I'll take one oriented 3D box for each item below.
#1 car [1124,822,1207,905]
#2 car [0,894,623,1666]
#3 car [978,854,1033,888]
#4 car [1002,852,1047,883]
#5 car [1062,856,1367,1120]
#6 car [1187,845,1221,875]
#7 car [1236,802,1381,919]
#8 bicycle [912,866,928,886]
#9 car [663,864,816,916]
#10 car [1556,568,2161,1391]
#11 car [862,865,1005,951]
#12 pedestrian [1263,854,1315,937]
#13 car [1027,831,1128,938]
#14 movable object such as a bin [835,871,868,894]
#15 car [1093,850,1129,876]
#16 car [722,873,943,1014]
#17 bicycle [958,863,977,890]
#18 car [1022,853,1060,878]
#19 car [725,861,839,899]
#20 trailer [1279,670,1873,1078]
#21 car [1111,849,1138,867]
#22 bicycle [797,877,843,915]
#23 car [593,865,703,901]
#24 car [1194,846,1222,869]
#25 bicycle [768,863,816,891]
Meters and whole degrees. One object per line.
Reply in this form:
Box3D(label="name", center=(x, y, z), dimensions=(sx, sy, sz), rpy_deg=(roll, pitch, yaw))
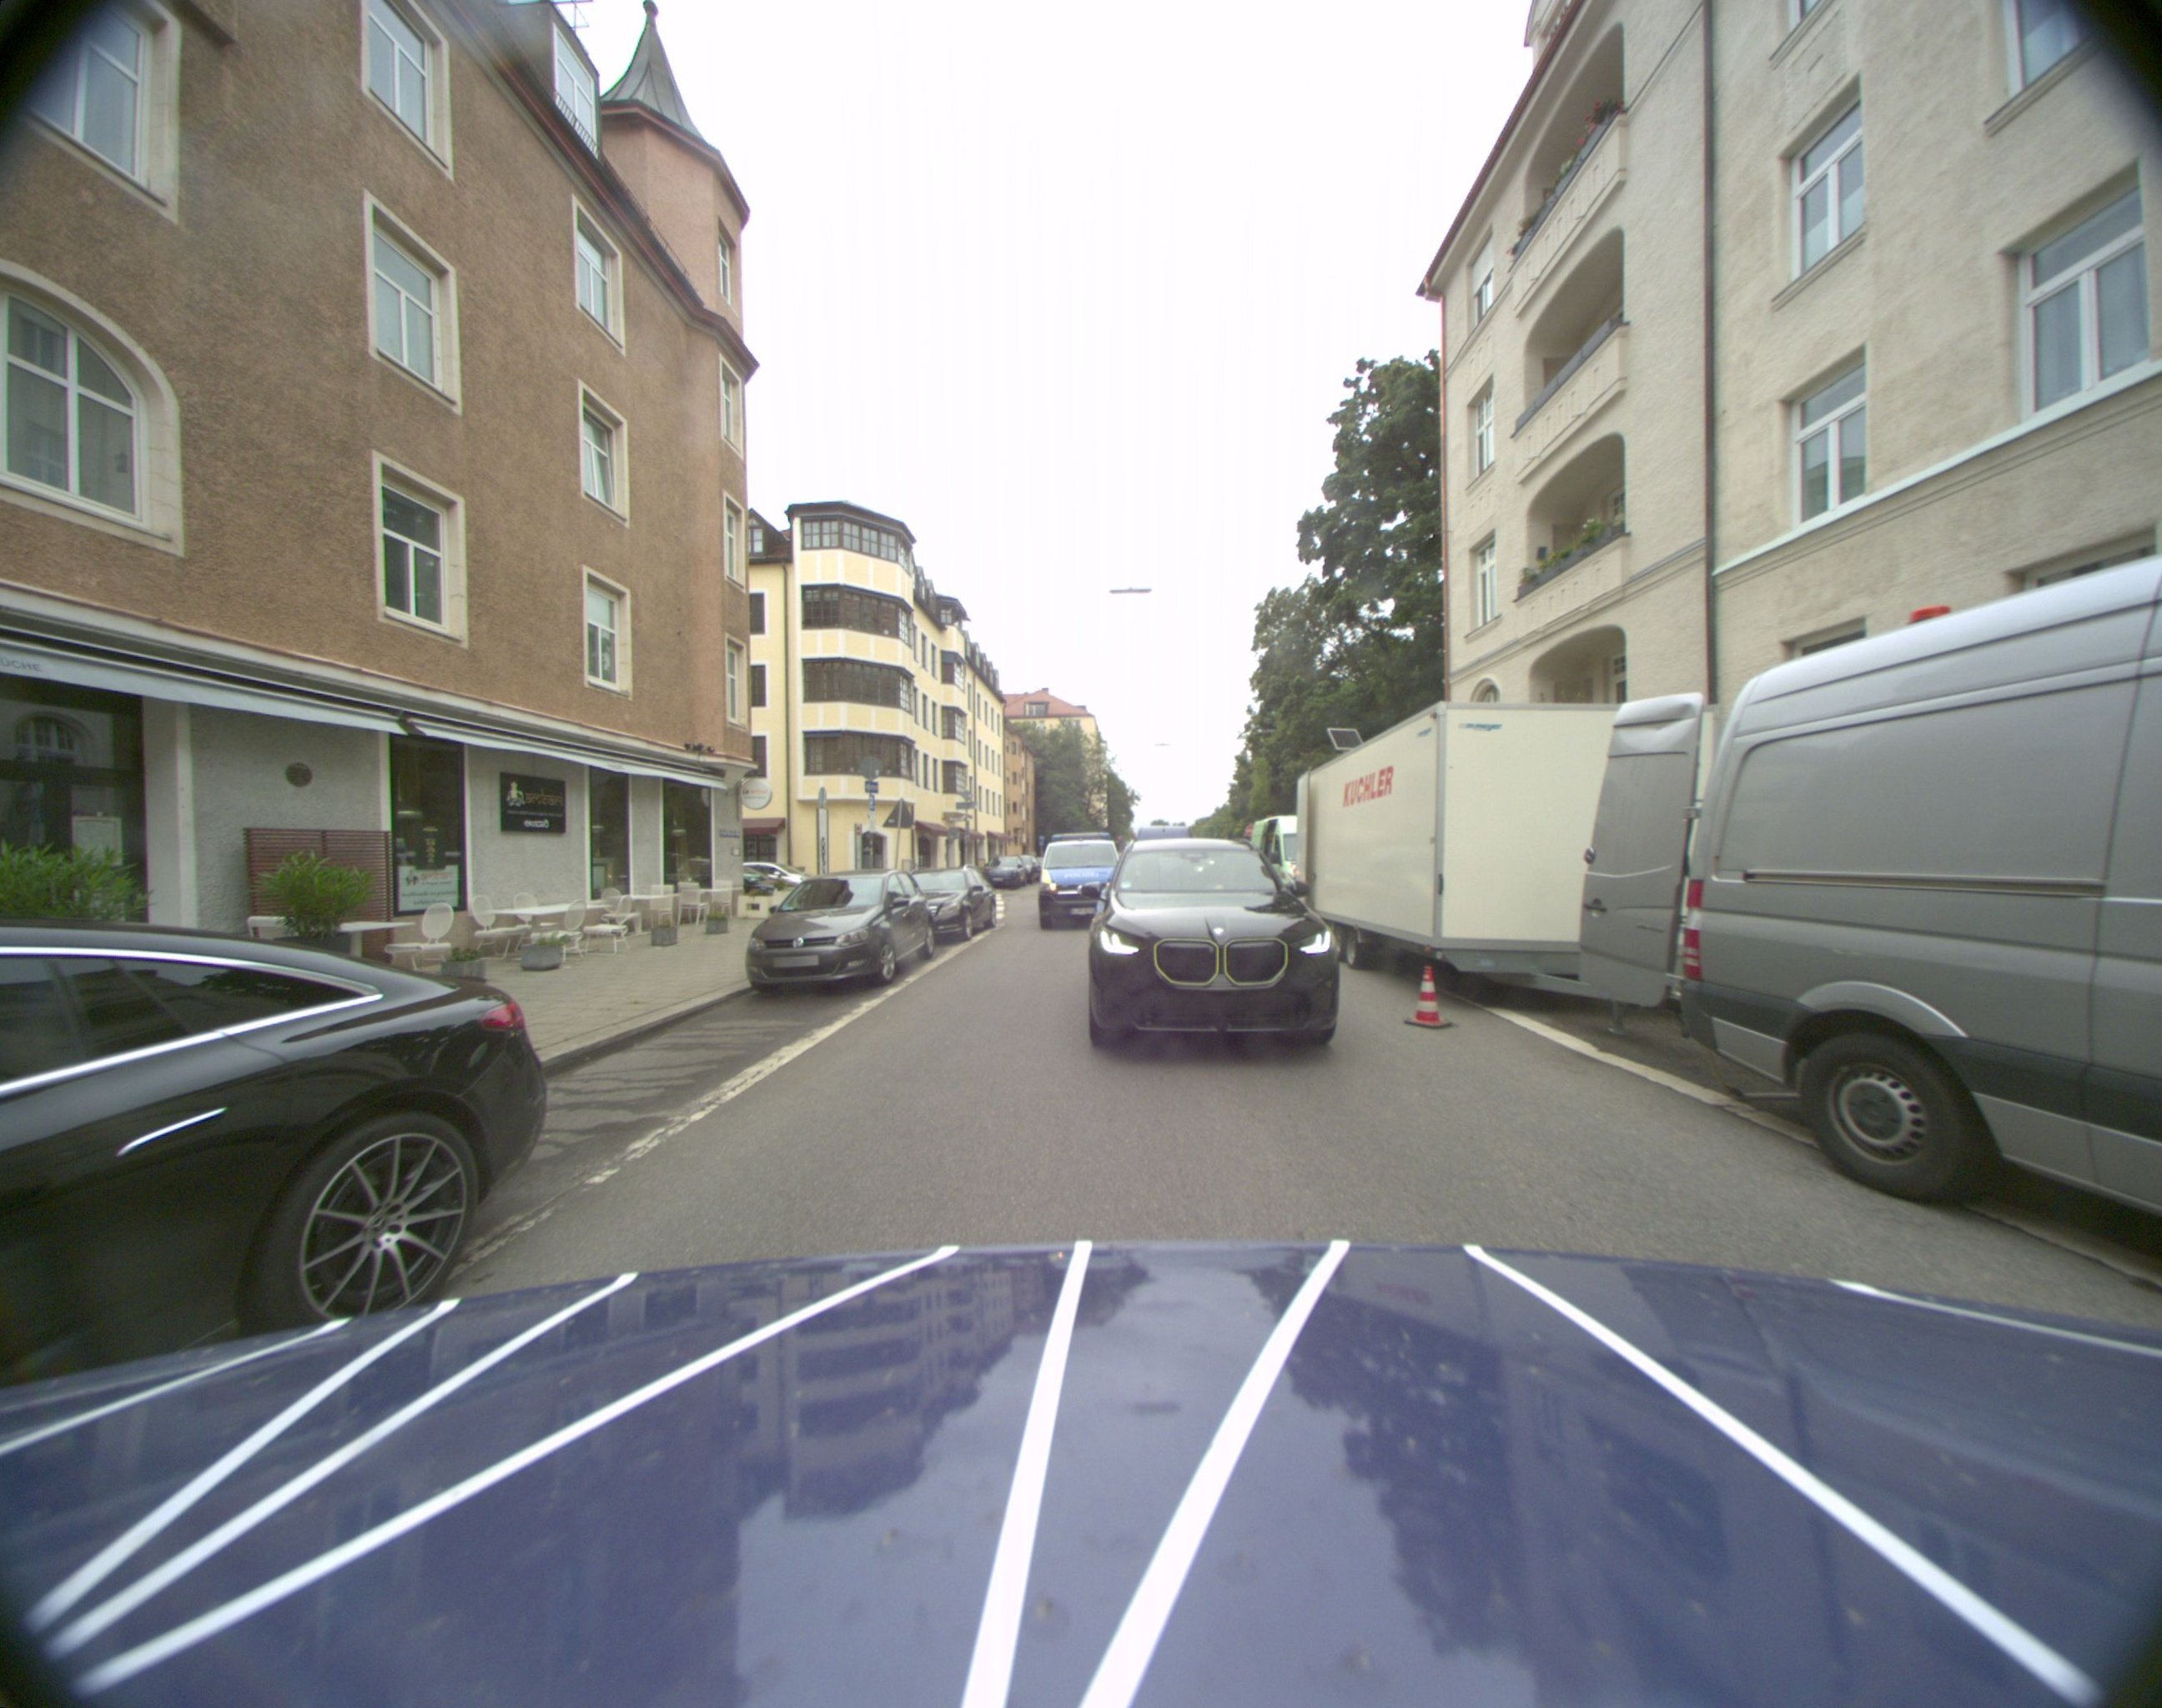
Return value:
Box3D(label="car", center=(3.040, 0.225, 26.011), dimensions=(2.003, 2.477, 6.238), rpy_deg=(-1, 1, 14))
Box3D(label="car", center=(-3.339, 1.013, 0.980), dimensions=(1.935, 1.544, 5.637), rpy_deg=(-2, 0, 1))
Box3D(label="car", center=(-3.841, 0.830, 39.387), dimensions=(2.111, 1.613, 4.497), rpy_deg=(-1, 1, 3))
Box3D(label="car", center=(-3.276, 0.740, 44.606), dimensions=(1.817, 1.580, 4.165), rpy_deg=(4, 1, 6))
Box3D(label="car", center=(1.142, 0.853, 7.007), dimensions=(1.920, 1.557, 4.296), rpy_deg=(0, 1, 8))
Box3D(label="car", center=(7.264, 0.294, 45.122), dimensions=(1.816, 1.580, 4.166), rpy_deg=(4, 1, 8))
Box3D(label="car", center=(5.776, 0.134, 20.388), dimensions=(2.146, 2.557, 6.795), rpy_deg=(-1, 0, 3))
Box3D(label="bicycle", center=(-7.962, 1.057, 37.641), dimensions=(0.262, 0.897, 1.695), rpy_deg=(4, 1, 5))
Box3D(label="car", center=(-10.565, 1.087, 23.726), dimensions=(3.881, 1.479, 1.892), rpy_deg=(-1, 1, 3))
Box3D(label="car", center=(4.411, 0.424, 1.993), dimensions=(2.061, 2.572, 6.877), rpy_deg=(3, 0, 2))
Box3D(label="car", center=(-2.877, 1.005, 15.936), dimensions=(1.851, 1.397, 4.788), rpy_deg=(-1, 0, 2))
Box3D(label="pedestrian", center=(4.094, 0.801, 14.970), dimensions=(0.764, 1.571, 0.636), rpy_deg=(-1, 1, -15))
Box3D(label="car", center=(0.106, 0.609, 18.193), dimensions=(1.826, 2.086, 5.635), rpy_deg=(-2, 0, 5))
Box3D(label="movable object such as a bin", center=(-9.513, 1.186, 31.527), dimensions=(1.125, 0.895, 0.684), rpy_deg=(0, 1, 4))
Box3D(label="car", center=(1.937, 0.537, 48.134), dimensions=(1.997, 1.587, 4.001), rpy_deg=(0, 1, 6))
Box3D(label="car", center=(-3.136, 1.053, 10.507), dimensions=(1.576, 1.386, 4.182), rpy_deg=(-1, 1, 1))
Box3D(label="bicycle", center=(-5.291, 1.013, 35.397), dimensions=(0.430, 1.152, 2.053), rpy_deg=(0, 1, 4))
Box3D(label="car", center=(-2.589, 0.741, 49.690), dimensions=(1.763, 1.514, 3.934), rpy_deg=(1, 1, 8))
Box3D(label="car", center=(-11.716, 1.025, 29.890), dimensions=(3.742, 1.431, 1.753), rpy_deg=(0, -2, 7))
Box3D(label="trailer", center=(4.661, 0.149, 9.486), dimensions=(2.810, 2.951, 7.602), rpy_deg=(2, 0, 4))
Box3D(label="car", center=(3.570, 0.319, 61.864), dimensions=(1.836, 1.390, 4.002), rpy_deg=(0, 1, 9))
Box3D(label="bicycle", center=(-7.297, 1.159, 21.328), dimensions=(0.496, 0.999, 1.804), rpy_deg=(1, -1, 5))
Box3D(label="car", center=(-17.237, 1.138, 30.322), dimensions=(3.451, 1.329, 1.639), rpy_deg=(0, 1, 6))
Box3D(label="car", center=(9.089, 0.224, 54.631), dimensions=(1.816, 1.455, 4.166), rpy_deg=(4, 1, 8))
Box3D(label="bicycle", center=(-12.669, 1.006, 33.332), dimensions=(1.904, 1.180, 0.515), rpy_deg=(0, 1, 3))
